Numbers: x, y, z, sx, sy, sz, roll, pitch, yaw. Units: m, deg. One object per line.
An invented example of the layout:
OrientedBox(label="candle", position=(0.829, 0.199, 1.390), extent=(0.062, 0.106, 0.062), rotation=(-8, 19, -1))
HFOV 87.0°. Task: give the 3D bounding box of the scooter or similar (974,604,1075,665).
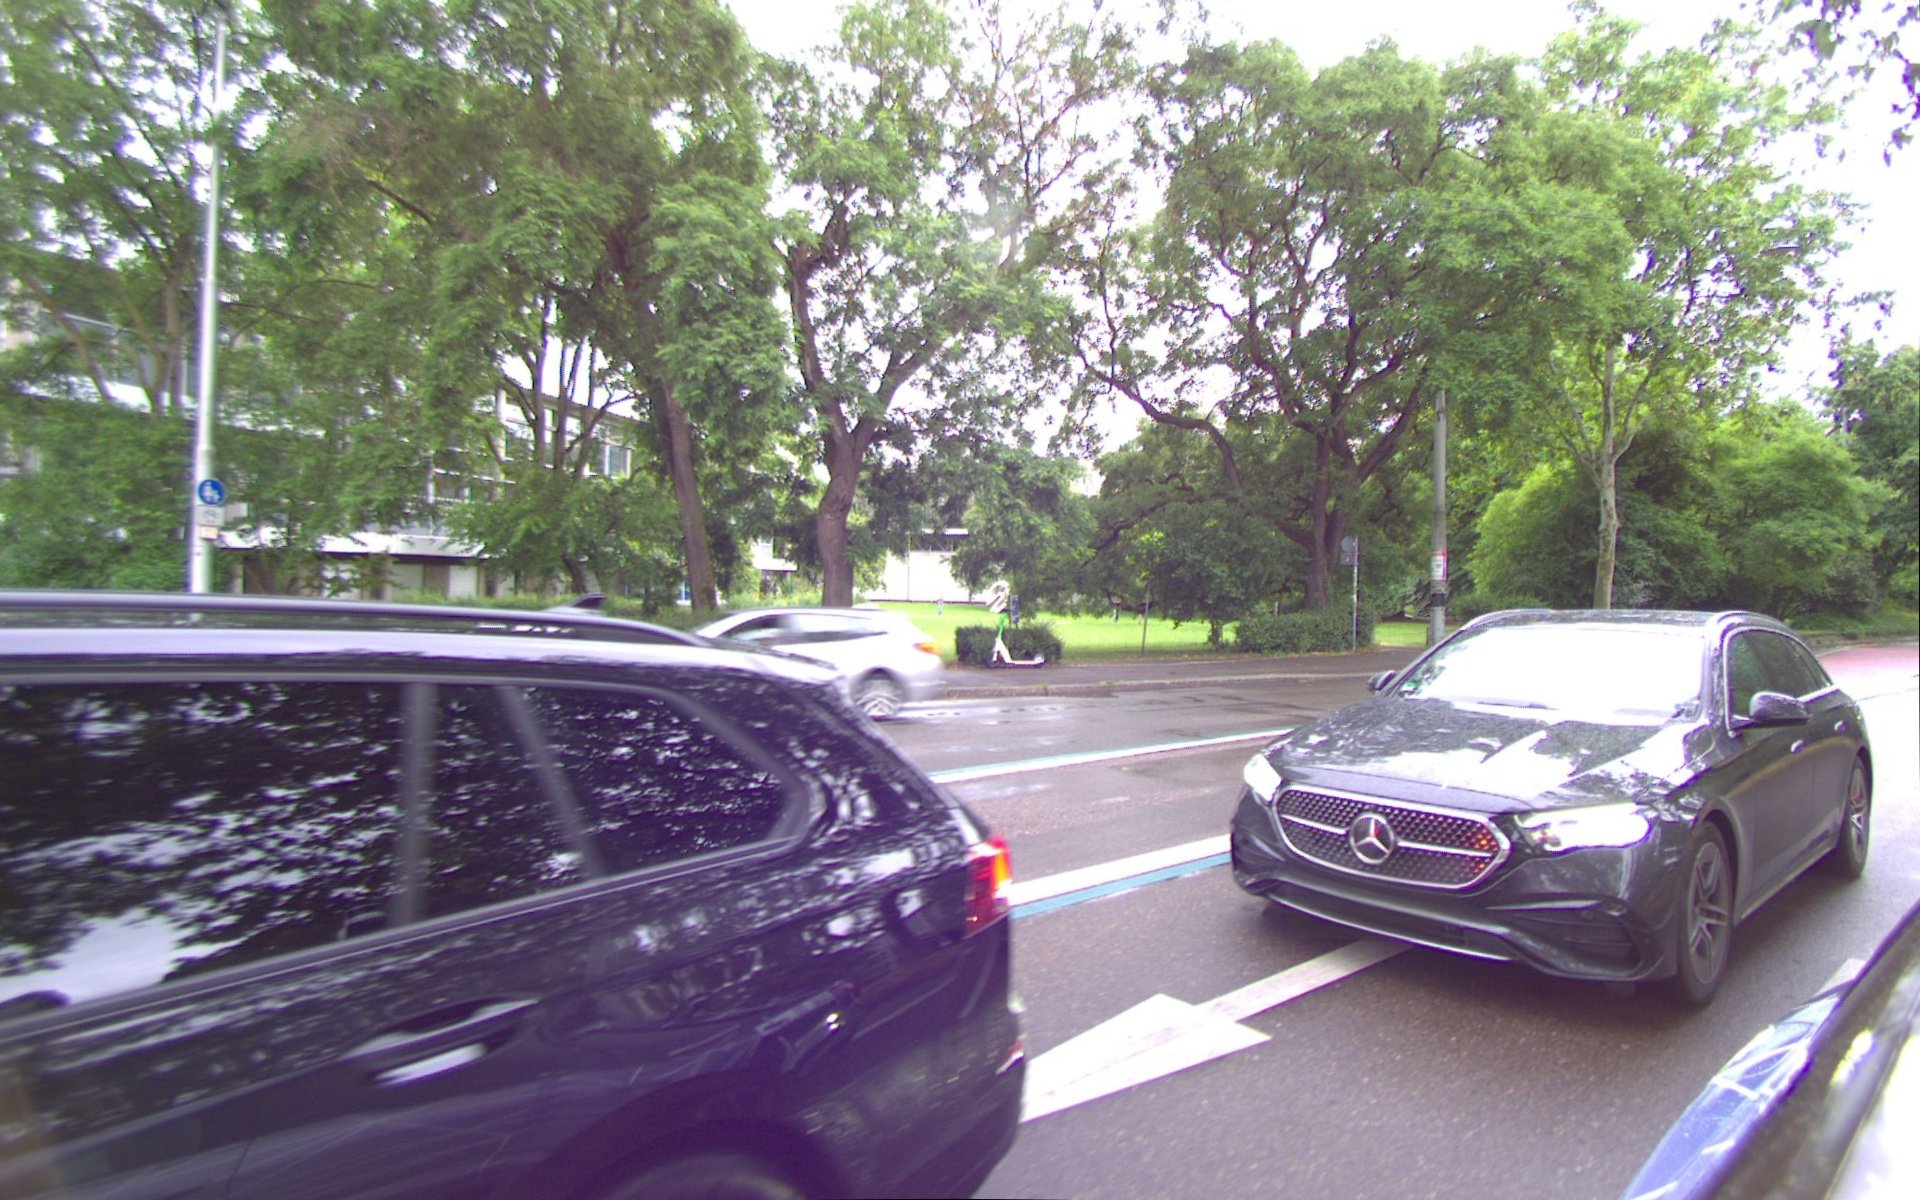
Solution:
OrientedBox(label="scooter or similar", position=(1.264, 0.674, 19.833), extent=(1.851, 1.114, 0.559), rotation=(2, 2, -19))

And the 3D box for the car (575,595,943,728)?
OrientedBox(label="car", position=(-2.563, 0.697, 12.864), extent=(4.311, 1.468, 1.872), rotation=(1, 0, -22))

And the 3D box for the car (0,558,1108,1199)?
OrientedBox(label="car", position=(-1.874, 0.680, 1.259), extent=(4.436, 1.484, 1.672), rotation=(1, 0, -43))

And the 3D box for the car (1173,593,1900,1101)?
OrientedBox(label="car", position=(3.326, 0.726, 5.264), extent=(4.845, 1.464, 1.882), rotation=(0, -1, -42))
